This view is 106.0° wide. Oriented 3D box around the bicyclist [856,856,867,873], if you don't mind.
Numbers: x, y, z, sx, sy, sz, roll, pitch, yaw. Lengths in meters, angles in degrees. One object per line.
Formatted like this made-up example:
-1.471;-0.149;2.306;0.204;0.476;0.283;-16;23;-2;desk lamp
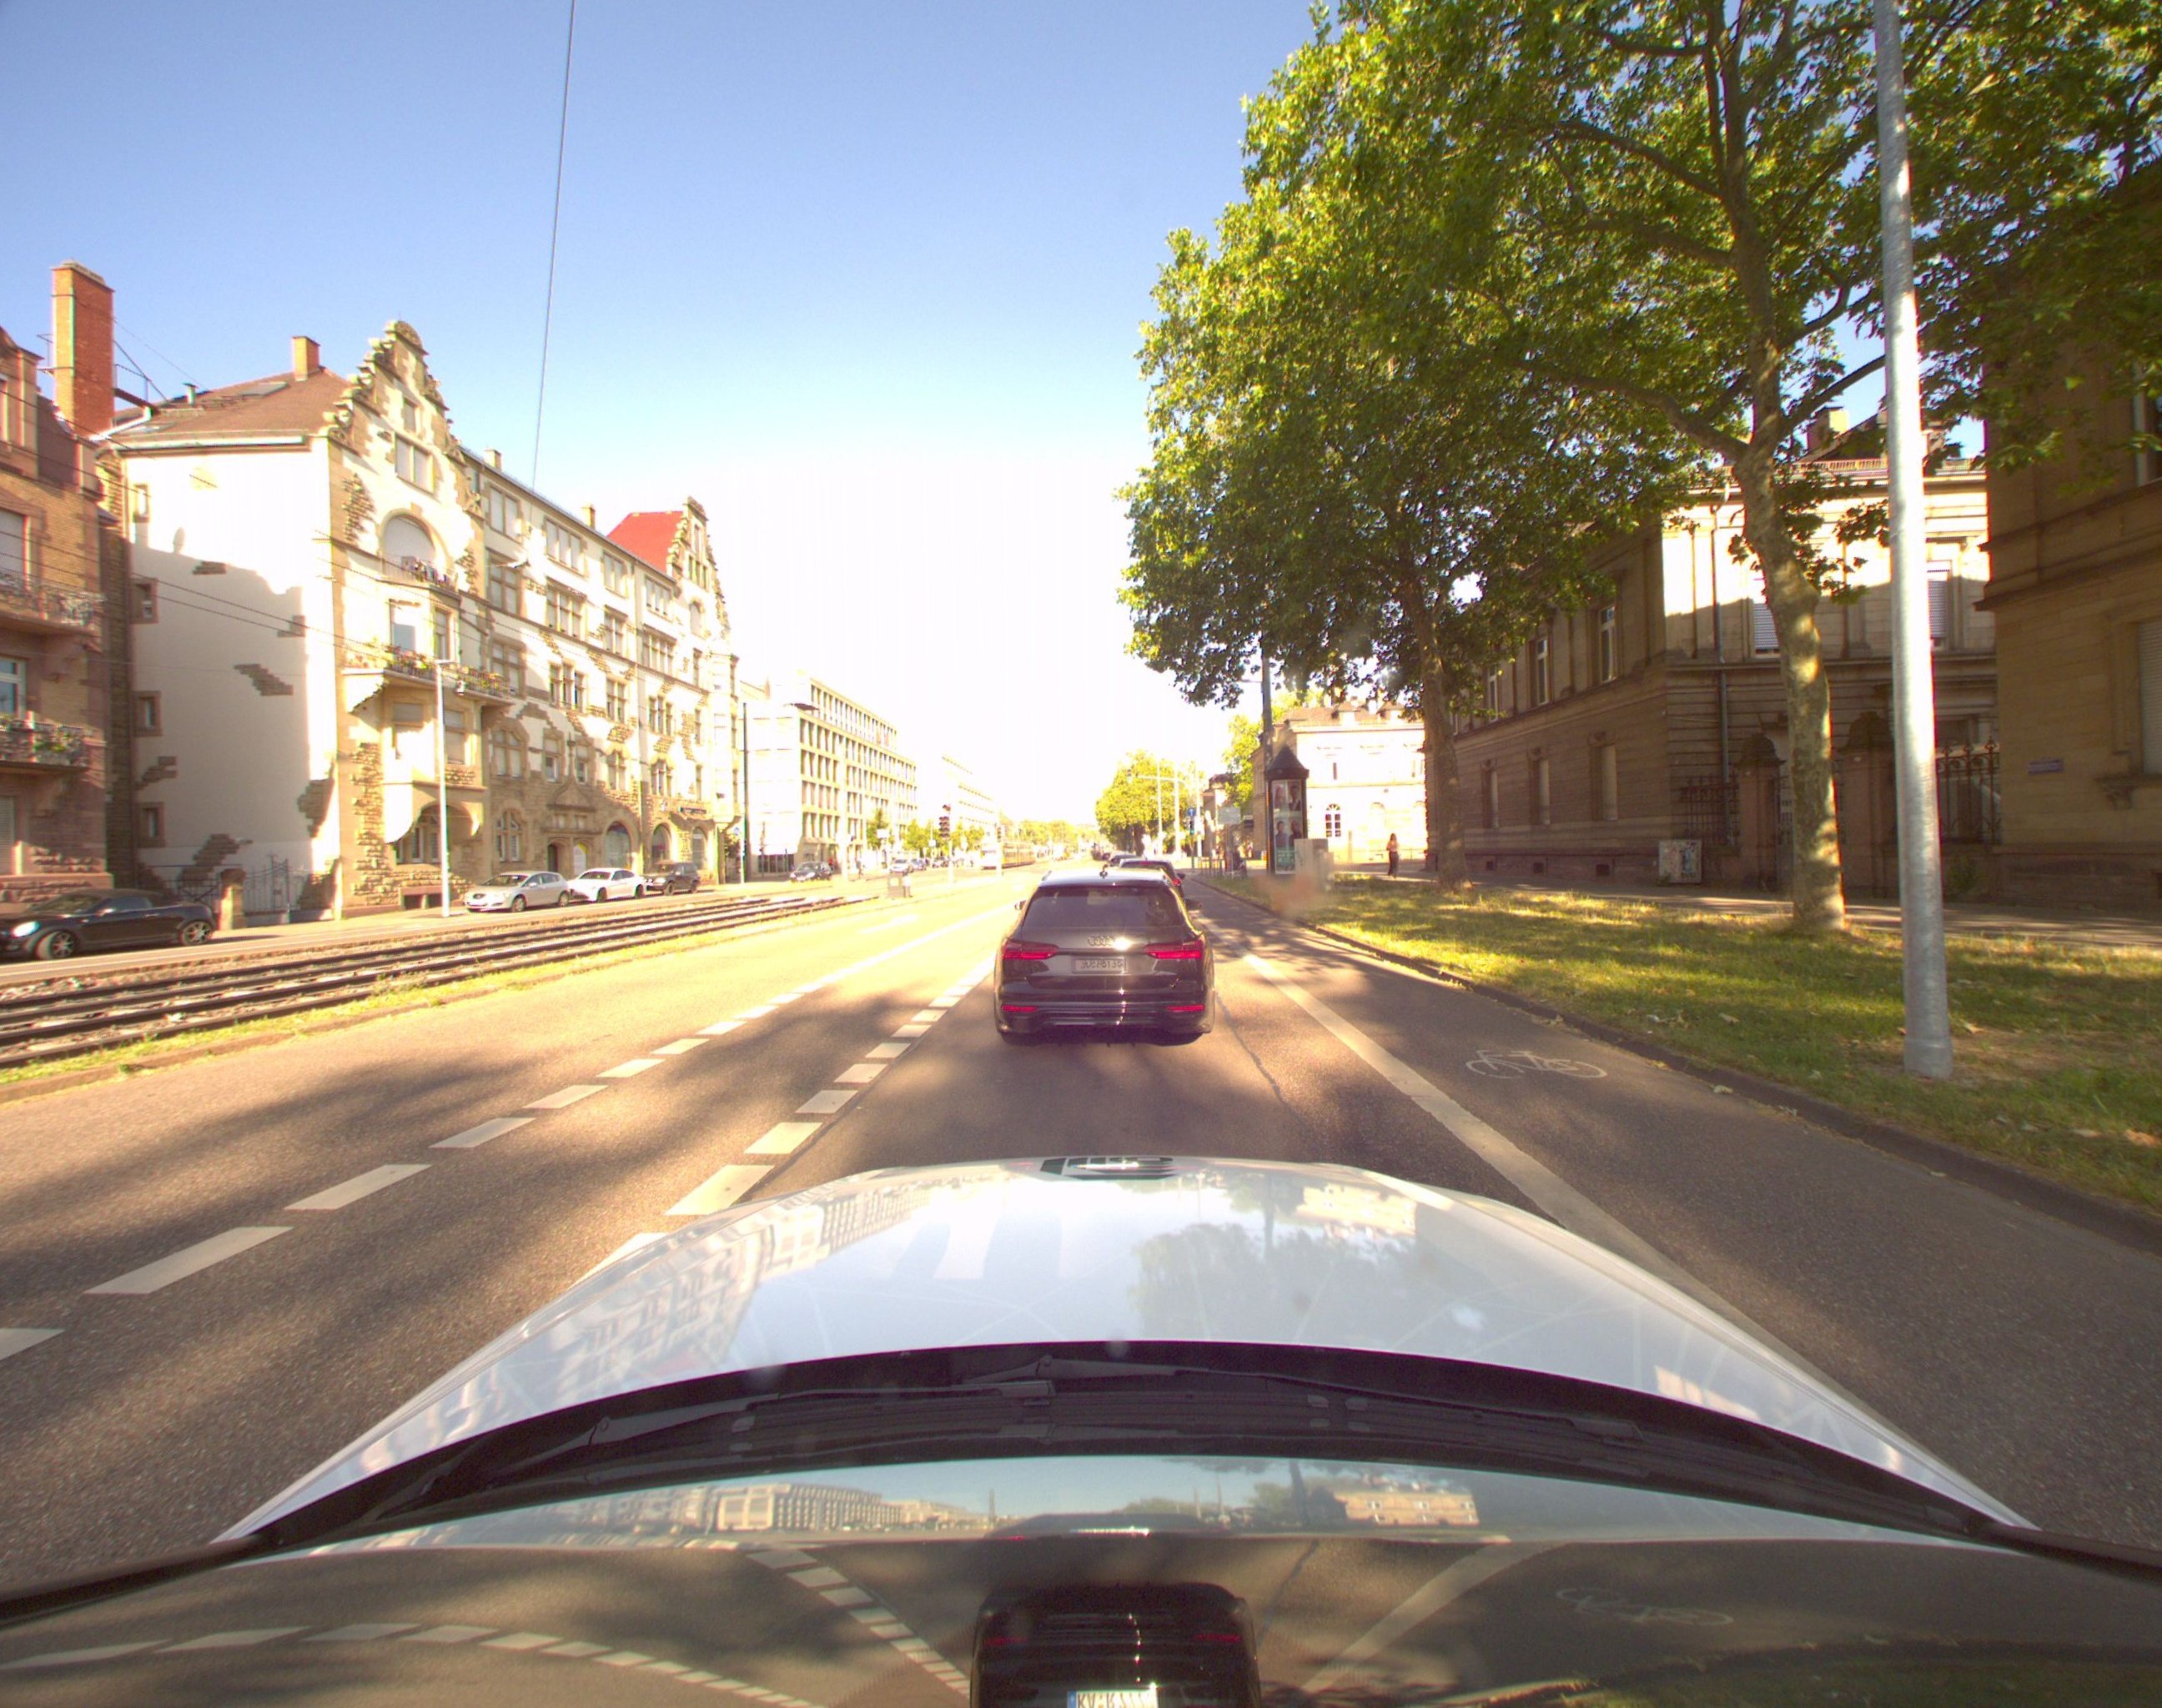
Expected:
-20.505;0.949;76.126;0.682;1.563;0.786;-2;0;3;bicyclist

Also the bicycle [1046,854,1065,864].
-3.044;0.579;97.109;2.009;1.108;0.761;-2;0;-15;bicycle

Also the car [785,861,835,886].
-17.370;1.226;52.371;1.814;1.457;4.164;-2;0;-1;car

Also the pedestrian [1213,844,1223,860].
16.189;-0.245;96.291;0.975;1.865;0.827;-2;0;3;pedestrian

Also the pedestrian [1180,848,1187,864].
10.950;0.187;87.150;0.679;1.660;0.758;-2;0;0;pedestrian

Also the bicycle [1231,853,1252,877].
7.378;0.502;37.546;0.538;1.061;1.770;-2;0;-1;bicycle

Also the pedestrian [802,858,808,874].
-31.422;1.362;92.664;0.475;1.843;0.438;-2;0;-36;pedestrian

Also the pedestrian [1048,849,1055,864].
-3.587;0.291;98.612;0.740;1.741;0.661;-2;0;-12;pedestrian

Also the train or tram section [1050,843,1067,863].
-4.097;-0.167;149.813;2.599;3.450;11.133;-2;0;1;train or tram section

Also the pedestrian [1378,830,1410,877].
11.818;-0.017;30.766;0.766;1.709;1.043;-2;0;4;pedestrian

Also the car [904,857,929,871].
-18.416;1.143;91.216;1.813;1.457;4.158;-2;0;2;car

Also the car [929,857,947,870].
-21.740;1.447;124.273;1.835;1.812;4.114;-2;0;1;car

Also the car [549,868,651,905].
-21.190;1.393;36.113;1.711;1.423;4.656;0;0;1;car

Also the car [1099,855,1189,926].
1.447;0.779;19.446;1.895;1.486;4.147;-1;0;3;car

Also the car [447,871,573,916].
-21.152;1.429;30.380;1.704;1.431;4.223;0;0;0;car

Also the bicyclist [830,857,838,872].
-29.182;1.261;96.227;0.571;1.686;0.646;-2;0;14;bicyclist

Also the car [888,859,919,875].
-17.042;1.215;78.473;1.813;1.457;4.542;-2;0;2;car

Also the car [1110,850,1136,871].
3.213;0.482;62.446;1.895;1.486;4.147;-1;0;3;car

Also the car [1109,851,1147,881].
2.471;0.592;43.444;1.895;1.486;4.147;-1;0;3;car

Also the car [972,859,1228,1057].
0.242;0.802;8.198;1.895;1.421;4.147;-1;0;3;car

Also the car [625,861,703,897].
-21.076;1.225;41.366;1.711;1.675;4.217;0;0;1;car

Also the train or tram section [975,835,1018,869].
-9.332;-0.213;91.404;2.802;3.489;13.211;-2;0;2;train or tram section

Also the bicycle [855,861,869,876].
-20.481;1.354;76.234;0.682;1.381;1.949;-2;0;4;bicycle

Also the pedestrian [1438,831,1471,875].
13.925;-0.038;30.398;0.766;1.606;0.987;-2;0;4;pedestrian

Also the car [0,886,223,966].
-21.561;1.478;17.780;1.616;1.354;3.727;1;0;1;car

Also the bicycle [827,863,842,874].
-29.143;1.652;96.337;0.571;1.215;2.398;-2;0;14;bicycle

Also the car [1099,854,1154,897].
1.702;0.749;30.535;1.895;1.486;4.147;-1;0;3;car

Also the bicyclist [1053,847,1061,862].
-2.904;0.084;97.150;0.758;1.818;0.761;-2;0;-15;bicyclist
